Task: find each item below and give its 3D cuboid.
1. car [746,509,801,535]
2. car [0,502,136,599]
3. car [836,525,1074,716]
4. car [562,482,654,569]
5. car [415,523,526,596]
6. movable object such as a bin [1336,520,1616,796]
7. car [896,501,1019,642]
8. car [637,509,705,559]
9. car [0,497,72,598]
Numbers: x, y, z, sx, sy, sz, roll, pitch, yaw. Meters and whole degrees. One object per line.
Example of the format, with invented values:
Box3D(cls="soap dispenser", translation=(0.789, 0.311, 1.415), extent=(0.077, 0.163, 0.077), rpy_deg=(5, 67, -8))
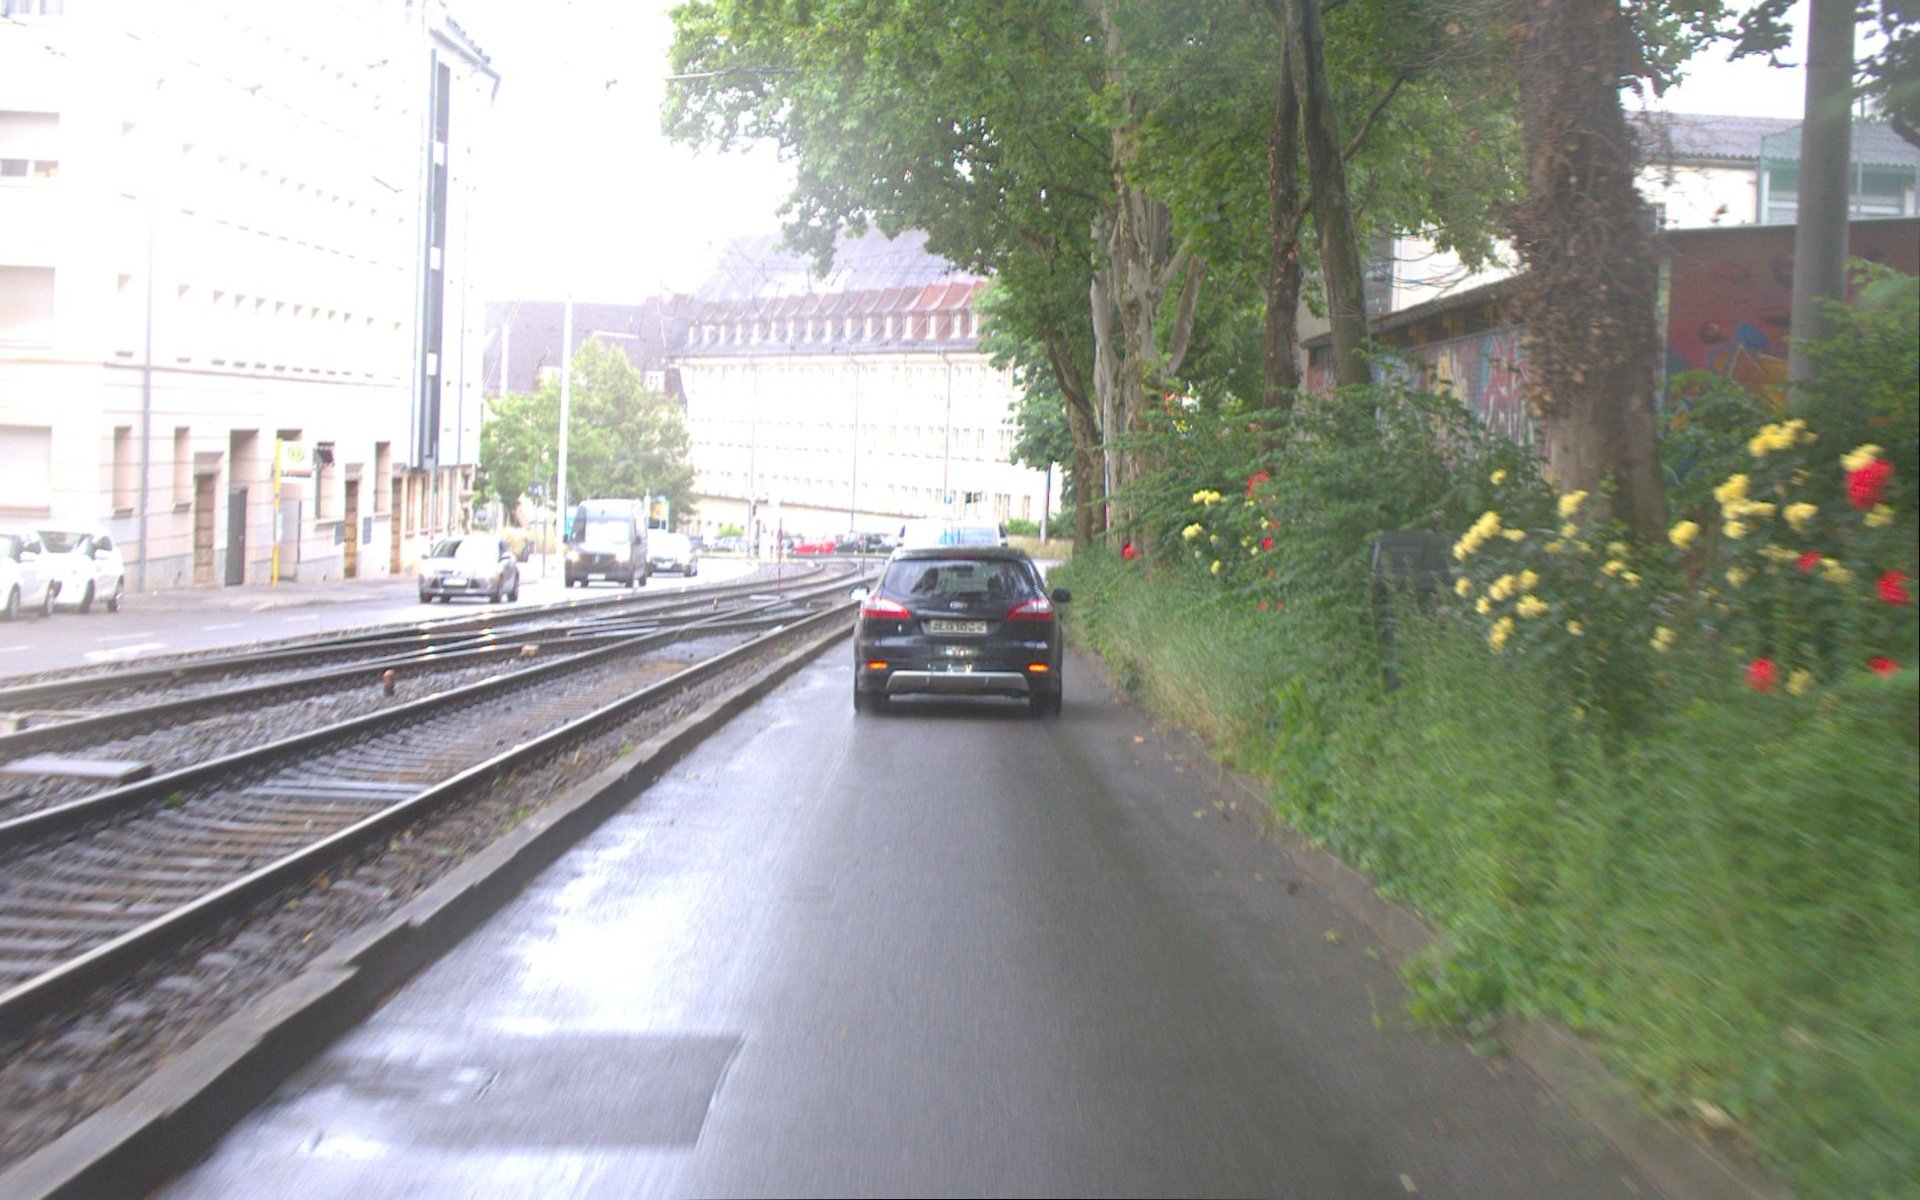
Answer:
Box3D(cls="car", translation=(-11.568, -4.852, 213.558), extent=(1.993, 1.537, 4.001), rpy_deg=(-1, 3, -26))
Box3D(cls="car", translation=(-15.256, -0.861, 58.326), extent=(1.708, 1.444, 3.542), rpy_deg=(4, 2, -2))
Box3D(cls="car", translation=(-0.088, 0.126, 31.053), extent=(1.933, 1.447, 4.318), rpy_deg=(3, 2, -1))
Box3D(cls="car", translation=(-10.468, -2.242, 102.613), extent=(1.993, 2.443, 5.999), rpy_deg=(2, 1, 1))
Box3D(cls="car", translation=(-10.857, -0.933, 76.485), extent=(1.712, 1.457, 4.281), rpy_deg=(1, 2, 2))
Box3D(cls="movable object such as a bin", translation=(2.928, 0.297, 19.407), extent=(1.402, 1.448, 1.216), rpy_deg=(1, 3, 16))
Box3D(cls="car", translation=(-0.072, -0.480, 53.218), extent=(1.740, 2.006, 3.904), rpy_deg=(2, 2, -2))
Box3D(cls="car", translation=(-10.140, -2.355, 121.042), extent=(1.880, 1.480, 4.855), rpy_deg=(2, 4, 1))
Box3D(cls="car", translation=(-15.191, -0.865, 53.769), extent=(1.704, 1.391, 3.937), rpy_deg=(3, 3, -3))
